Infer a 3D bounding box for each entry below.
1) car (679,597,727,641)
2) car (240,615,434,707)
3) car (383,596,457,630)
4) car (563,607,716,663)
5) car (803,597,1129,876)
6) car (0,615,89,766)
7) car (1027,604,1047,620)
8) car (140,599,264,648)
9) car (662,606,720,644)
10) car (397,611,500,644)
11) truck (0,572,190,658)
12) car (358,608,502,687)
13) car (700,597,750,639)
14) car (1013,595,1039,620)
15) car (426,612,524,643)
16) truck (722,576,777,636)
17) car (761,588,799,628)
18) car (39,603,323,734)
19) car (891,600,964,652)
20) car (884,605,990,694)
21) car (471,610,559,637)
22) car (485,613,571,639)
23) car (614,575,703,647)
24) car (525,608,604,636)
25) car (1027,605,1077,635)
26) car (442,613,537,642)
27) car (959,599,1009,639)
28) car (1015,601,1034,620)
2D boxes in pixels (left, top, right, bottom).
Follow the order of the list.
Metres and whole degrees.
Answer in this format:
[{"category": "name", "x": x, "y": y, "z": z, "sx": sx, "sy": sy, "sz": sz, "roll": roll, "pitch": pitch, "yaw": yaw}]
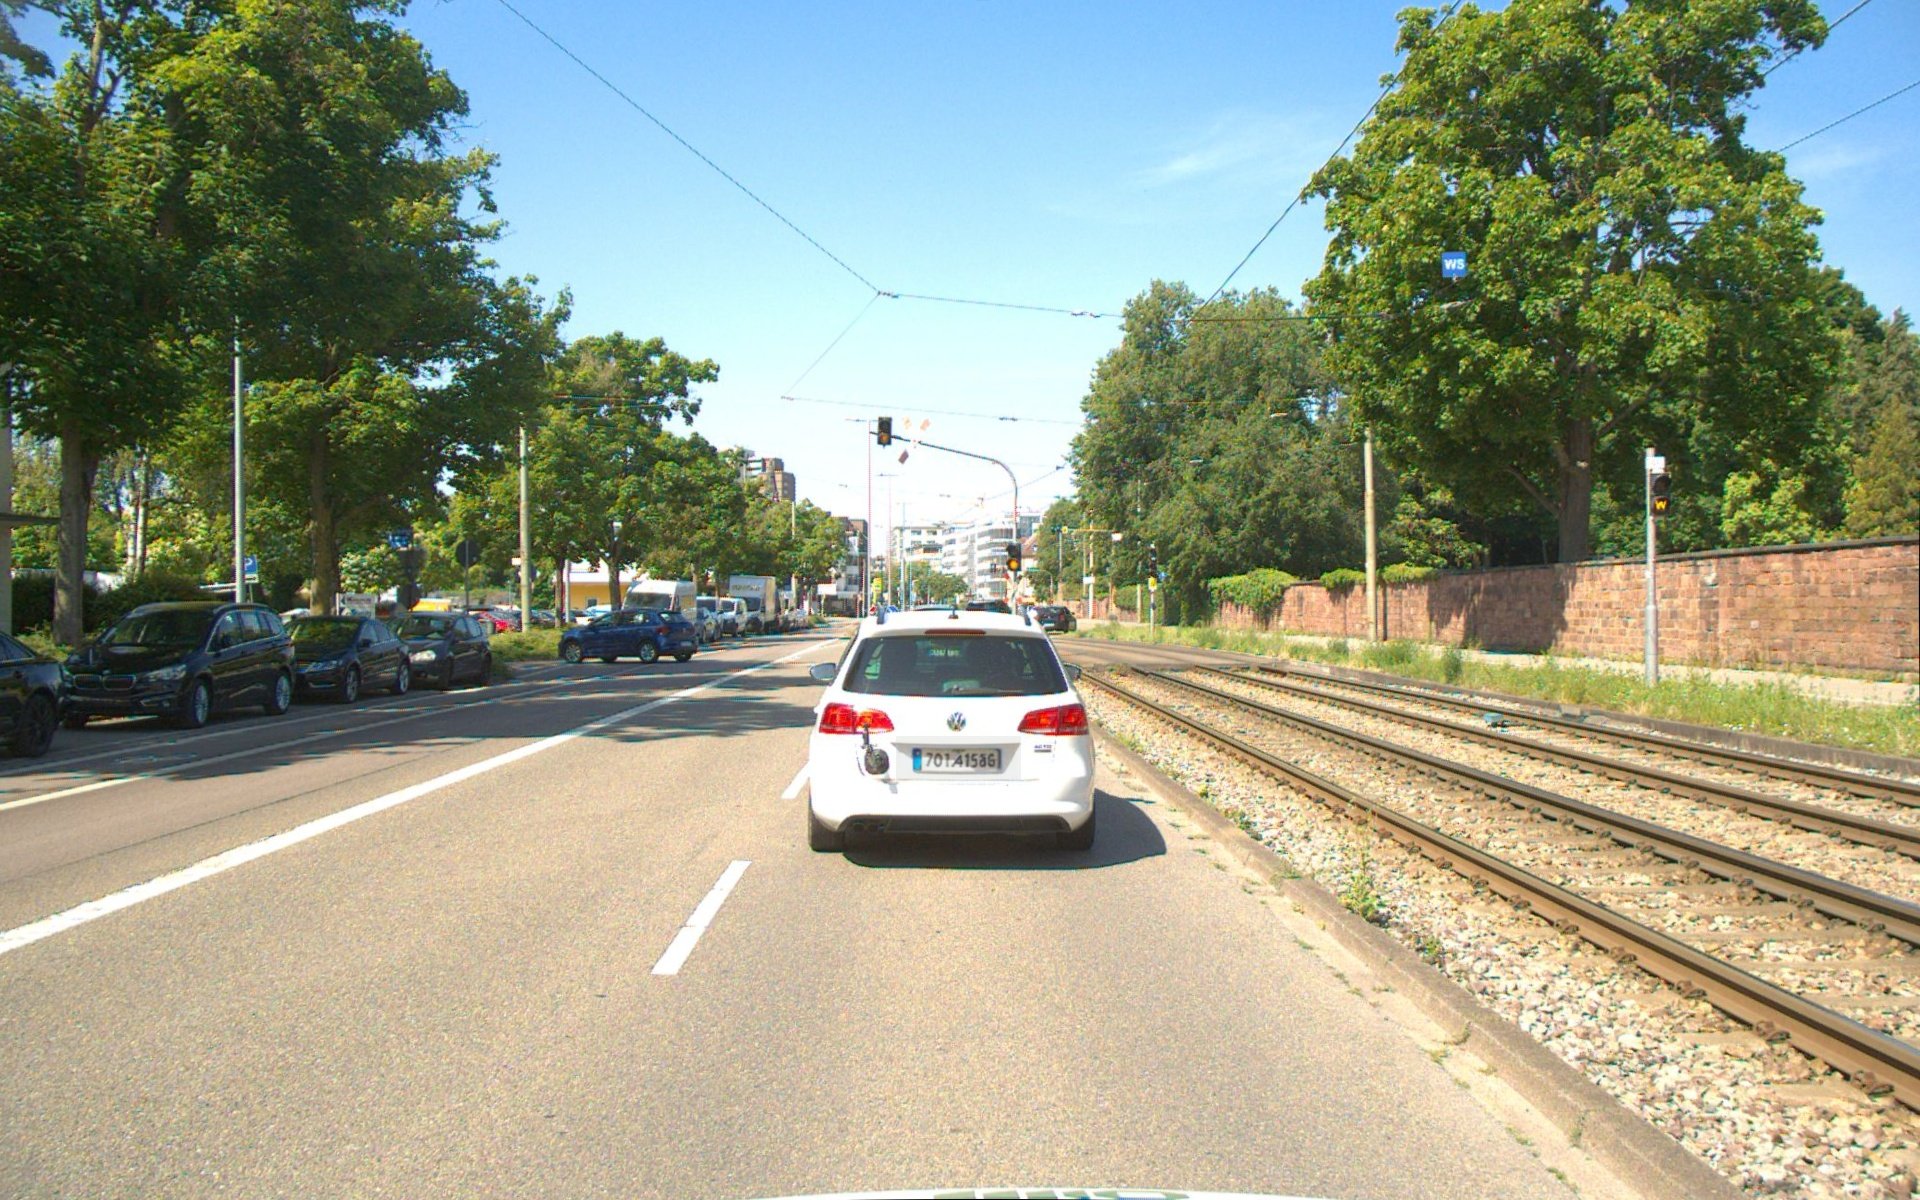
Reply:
[{"category": "car", "x": -11.872, "y": 0.863, "z": 76.677, "sx": 1.807, "sy": 1.971, "sz": 5.188, "roll": -1, "pitch": 0, "yaw": -5}, {"category": "car", "x": -10.750, "y": 0.996, "z": 28.892, "sx": 1.656, "sy": 1.404, "sz": 4.781, "roll": 0, "pitch": 0, "yaw": -1}, {"category": "car", "x": -35.074, "y": 0.844, "z": 107.537, "sx": 4.176, "sy": 2.049, "sz": 1.997, "roll": 2, "pitch": -1, "yaw": -7}, {"category": "car", "x": -8.643, "y": 0.913, "z": 44.586, "sx": 3.826, "sy": 1.432, "sz": 1.749, "roll": 0, "pitch": 0, "yaw": 29}, {"category": "car", "x": -0.019, "y": 0.745, "z": 10.927, "sx": 1.732, "sy": 1.471, "sz": 3.911, "roll": 2, "pitch": 0, "yaw": -2}, {"category": "car", "x": -10.494, "y": 0.920, "z": 16.039, "sx": 1.803, "sy": 1.491, "sz": 4.906, "roll": 0, "pitch": 0, "yaw": -4}, {"category": "car", "x": 7.087, "y": 1.107, "z": 151.804, "sx": 1.549, "sy": 1.370, "sz": 3.453, "roll": 2, "pitch": -1, "yaw": -1}, {"category": "car", "x": -34.291, "y": 1.067, "z": 74.905, "sx": 4.602, "sy": 2.049, "sz": 1.997, "roll": 2, "pitch": -1, "yaw": -6}, {"category": "car", "x": -11.266, "y": 1.030, "z": 69.491, "sx": 1.806, "sy": 1.543, "sz": 4.196, "roll": -1, "pitch": 0, "yaw": -1}, {"category": "car", "x": -22.416, "y": 1.205, "z": 72.588, "sx": 3.904, "sy": 1.374, "sz": 1.772, "roll": -1, "pitch": 0, "yaw": 2}, {"category": "truck", "x": -34.142, "y": 0.552, "z": 64.527, "sx": 6.999, "sy": 3.071, "sz": 2.230, "roll": 2, "pitch": 0, "yaw": -3}, {"category": "car", "x": -10.700, "y": 0.926, "z": 33.669, "sx": 1.608, "sy": 1.476, "sz": 4.004, "roll": 1, "pitch": 0, "yaw": 0}, {"category": "car", "x": -11.733, "y": 0.877, "z": 82.803, "sx": 1.806, "sy": 1.995, "sz": 5.133, "roll": -1, "pitch": 0, "yaw": 0}, {"category": "car", "x": 6.960, "y": 0.791, "z": 174.713, "sx": 2.413, "sy": 2.543, "sz": 5.908, "roll": 2, "pitch": -1, "yaw": -1}, {"category": "car", "x": -22.015, "y": 1.243, "z": 75.173, "sx": 3.904, "sy": 1.286, "sz": 1.772, "roll": -1, "pitch": 0, "yaw": 2}, {"category": "truck", "x": -11.621, "y": 0.331, "z": 91.545, "sx": 2.309, "sy": 3.177, "sz": 6.889, "roll": -1, "pitch": 0, "yaw": -2}, {"category": "car", "x": -11.629, "y": 0.503, "z": 107.055, "sx": 1.806, "sy": 2.538, "sz": 5.855, "roll": -1, "pitch": 0, "yaw": 0}, {"category": "car", "x": -10.683, "y": 0.860, "z": 23.127, "sx": 1.726, "sy": 1.634, "sz": 4.892, "roll": 0, "pitch": 0, "yaw": -1}, {"category": "car", "x": -0.914, "y": 0.745, "z": 49.247, "sx": 1.822, "sy": 1.441, "sz": 4.326, "roll": 2, "pitch": 0, "yaw": 3}, {"category": "car", "x": -0.416, "y": 0.814, "z": 29.128, "sx": 1.710, "sy": 1.412, "sz": 3.912, "roll": 1, "pitch": 0, "yaw": -1}, {"category": "car", "x": -22.185, "y": 1.174, "z": 82.536, "sx": 3.904, "sy": 1.246, "sz": 1.772, "roll": -1, "pitch": 0, "yaw": 2}, {"category": "car", "x": -22.098, "y": 1.334, "z": 84.656, "sx": 3.904, "sy": 1.246, "sz": 1.772, "roll": -1, "pitch": 0, "yaw": 2}, {"category": "car", "x": -11.505, "y": 0.397, "z": 63.602, "sx": 2.016, "sy": 2.544, "sz": 6.308, "roll": 2, "pitch": 0, "yaw": 2}, {"category": "car", "x": -22.057, "y": 1.222, "z": 92.342, "sx": 3.904, "sy": 1.469, "sz": 1.772, "roll": -1, "pitch": 0, "yaw": 2}, {"category": "car", "x": 4.684, "y": 0.981, "z": 83.574, "sx": 1.709, "sy": 1.432, "sz": 3.915, "roll": 1, "pitch": 0, "yaw": 16}, {"category": "car", "x": -22.046, "y": 1.289, "z": 77.628, "sx": 3.904, "sy": 1.246, "sz": 1.772, "roll": -1, "pitch": 0, "yaw": 2}, {"category": "car", "x": 0.991, "y": 0.753, "z": 66.961, "sx": 1.822, "sy": 1.539, "sz": 3.914, "roll": 2, "pitch": 0, "yaw": 3}, {"category": "car", "x": 6.506, "y": 1.093, "z": 166.144, "sx": 1.657, "sy": 1.844, "sz": 3.453, "roll": 2, "pitch": -1, "yaw": -1}]
